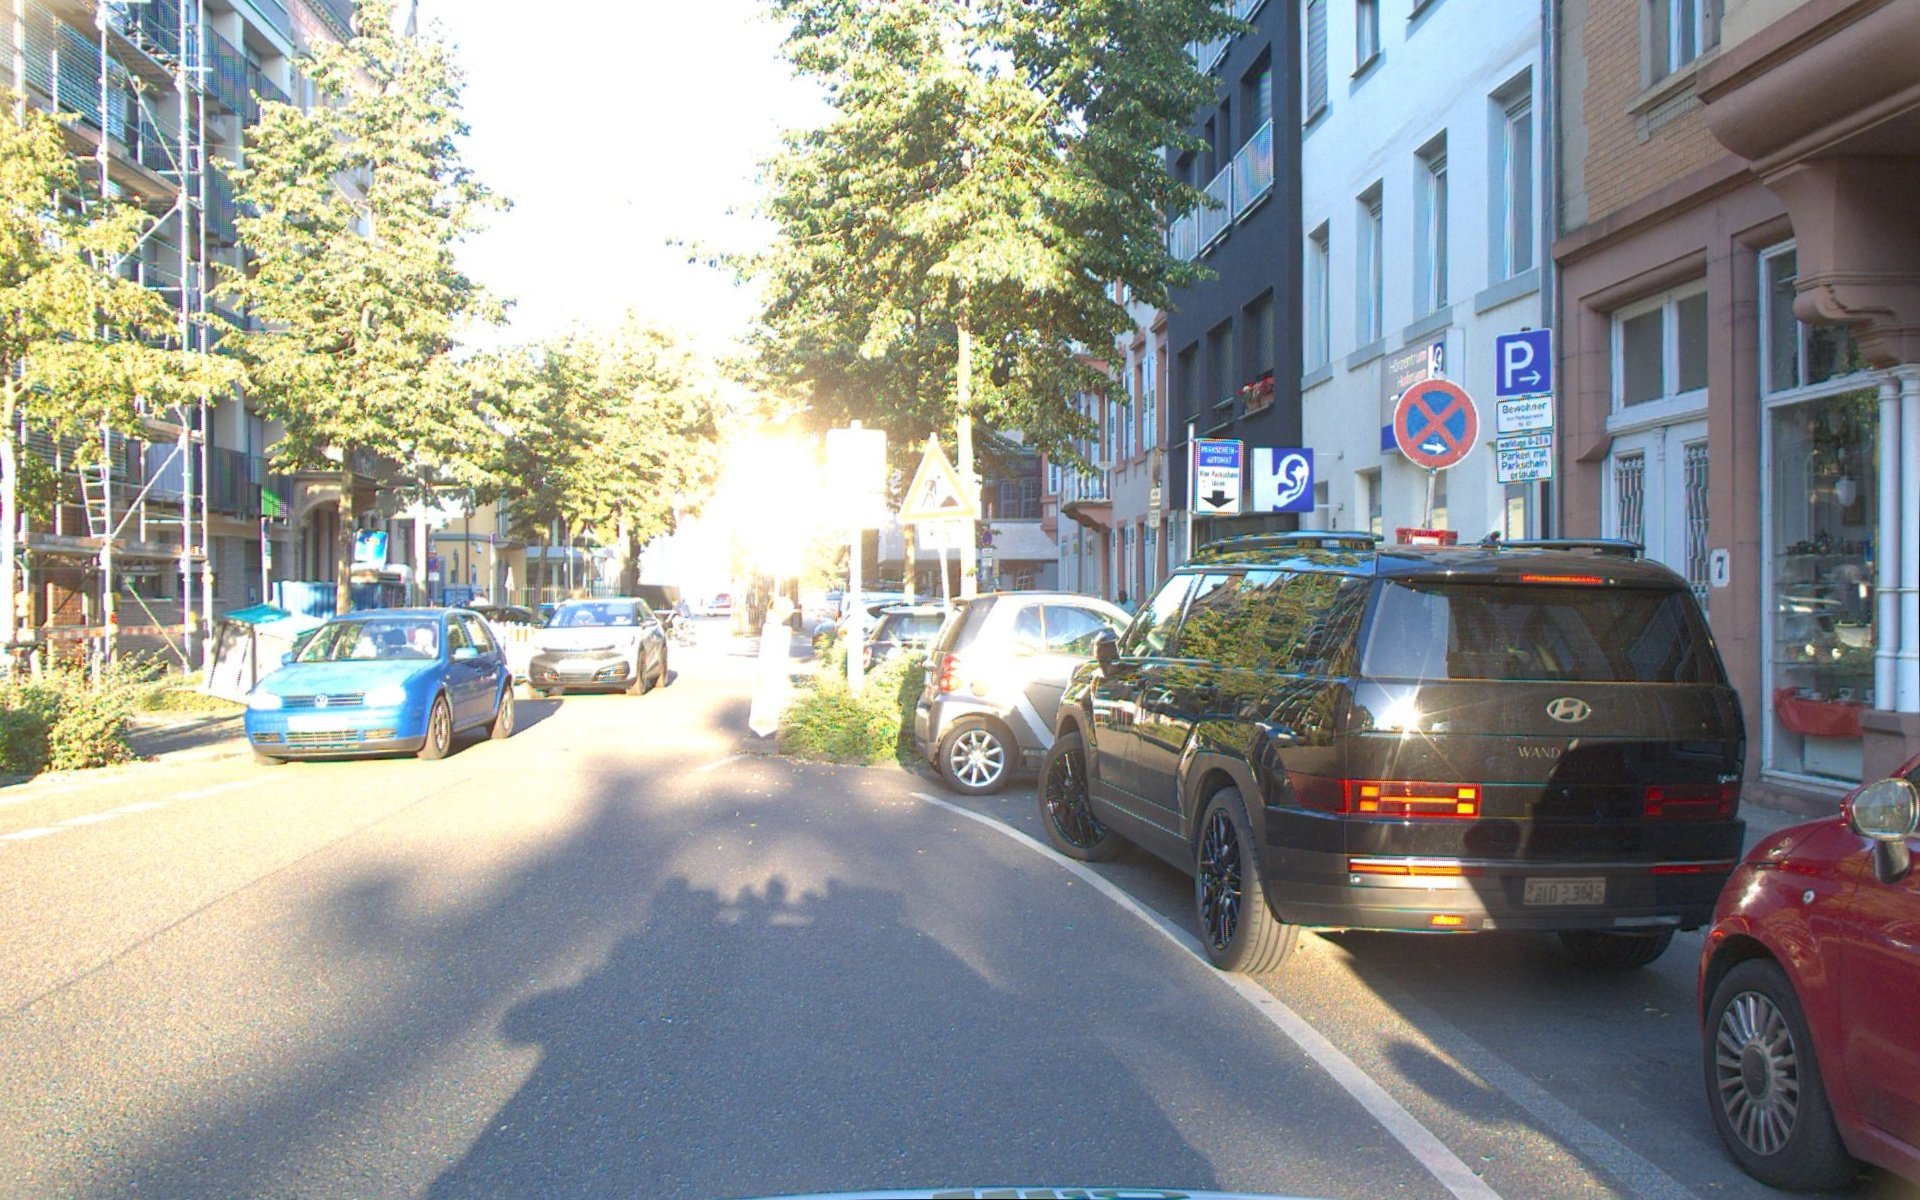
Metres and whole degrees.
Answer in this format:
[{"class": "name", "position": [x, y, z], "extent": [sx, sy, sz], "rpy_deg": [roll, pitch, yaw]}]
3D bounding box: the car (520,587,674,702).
[{"class": "car", "position": [-6.060, 0.695, 28.082], "extent": [1.836, 1.727, 4.318], "rpy_deg": [-2, 0, -4]}]

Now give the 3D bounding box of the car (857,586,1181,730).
[{"class": "car", "position": [0.685, 0.717, 21.177], "extent": [3.918, 1.699, 1.856], "rpy_deg": [1, 0, -6]}]

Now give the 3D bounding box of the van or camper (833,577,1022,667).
[{"class": "van or camper", "position": [-0.819, 0.517, 39.428], "extent": [4.354, 2.041, 1.856], "rpy_deg": [1, 0, -6]}]

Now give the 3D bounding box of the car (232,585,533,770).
[{"class": "car", "position": [-5.649, 0.684, 16.722], "extent": [1.654, 1.590, 4.117], "rpy_deg": [-2, 0, -2]}]

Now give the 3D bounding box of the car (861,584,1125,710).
[{"class": "car", "position": [0.423, 0.660, 24.008], "extent": [3.614, 1.699, 1.856], "rpy_deg": [1, 0, -6]}]

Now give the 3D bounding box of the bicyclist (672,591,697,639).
[{"class": "bicyclist", "position": [-9.521, 0.521, 57.113], "extent": [0.495, 1.634, 0.751], "rpy_deg": [0, 0, -45]}]

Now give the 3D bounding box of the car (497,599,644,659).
[{"class": "car", "position": [-11.449, 0.843, 48.785], "extent": [3.906, 1.713, 1.890], "rpy_deg": [0, 0, -2]}]

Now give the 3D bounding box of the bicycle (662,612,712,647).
[{"class": "bicycle", "position": [-9.409, 1.012, 57.019], "extent": [0.511, 1.152, 2.241], "rpy_deg": [0, 0, -45]}]

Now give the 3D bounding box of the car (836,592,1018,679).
[{"class": "car", "position": [-0.725, 0.720, 34.304], "extent": [3.614, 1.699, 1.856], "rpy_deg": [1, 0, -6]}]

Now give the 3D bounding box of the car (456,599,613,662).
[{"class": "car", "position": [-11.798, 0.826, 46.077], "extent": [3.906, 1.713, 1.890], "rpy_deg": [0, 0, -2]}]

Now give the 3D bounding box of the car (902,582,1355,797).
[{"class": "car", "position": [1.329, 0.666, 13.554], "extent": [3.409, 1.603, 1.503], "rpy_deg": [0, 0, -13]}]

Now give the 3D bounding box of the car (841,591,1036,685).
[{"class": "car", "position": [-0.458, 0.713, 31.971], "extent": [3.614, 1.699, 1.856], "rpy_deg": [1, 0, -6]}]

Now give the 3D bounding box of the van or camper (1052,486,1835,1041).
[{"class": "van or camper", "position": [1.810, 0.541, 7.843], "extent": [1.855, 1.839, 4.451], "rpy_deg": [0, 0, -9]}]

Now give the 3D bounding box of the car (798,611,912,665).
[{"class": "car", "position": [-3.242, 1.160, 51.689], "extent": [1.817, 1.595, 3.691], "rpy_deg": [1, 0, 29]}]

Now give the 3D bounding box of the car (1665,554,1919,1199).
[{"class": "car", "position": [2.927, 0.705, 3.269], "extent": [1.495, 1.597, 3.420], "rpy_deg": [1, 0, -2]}]
